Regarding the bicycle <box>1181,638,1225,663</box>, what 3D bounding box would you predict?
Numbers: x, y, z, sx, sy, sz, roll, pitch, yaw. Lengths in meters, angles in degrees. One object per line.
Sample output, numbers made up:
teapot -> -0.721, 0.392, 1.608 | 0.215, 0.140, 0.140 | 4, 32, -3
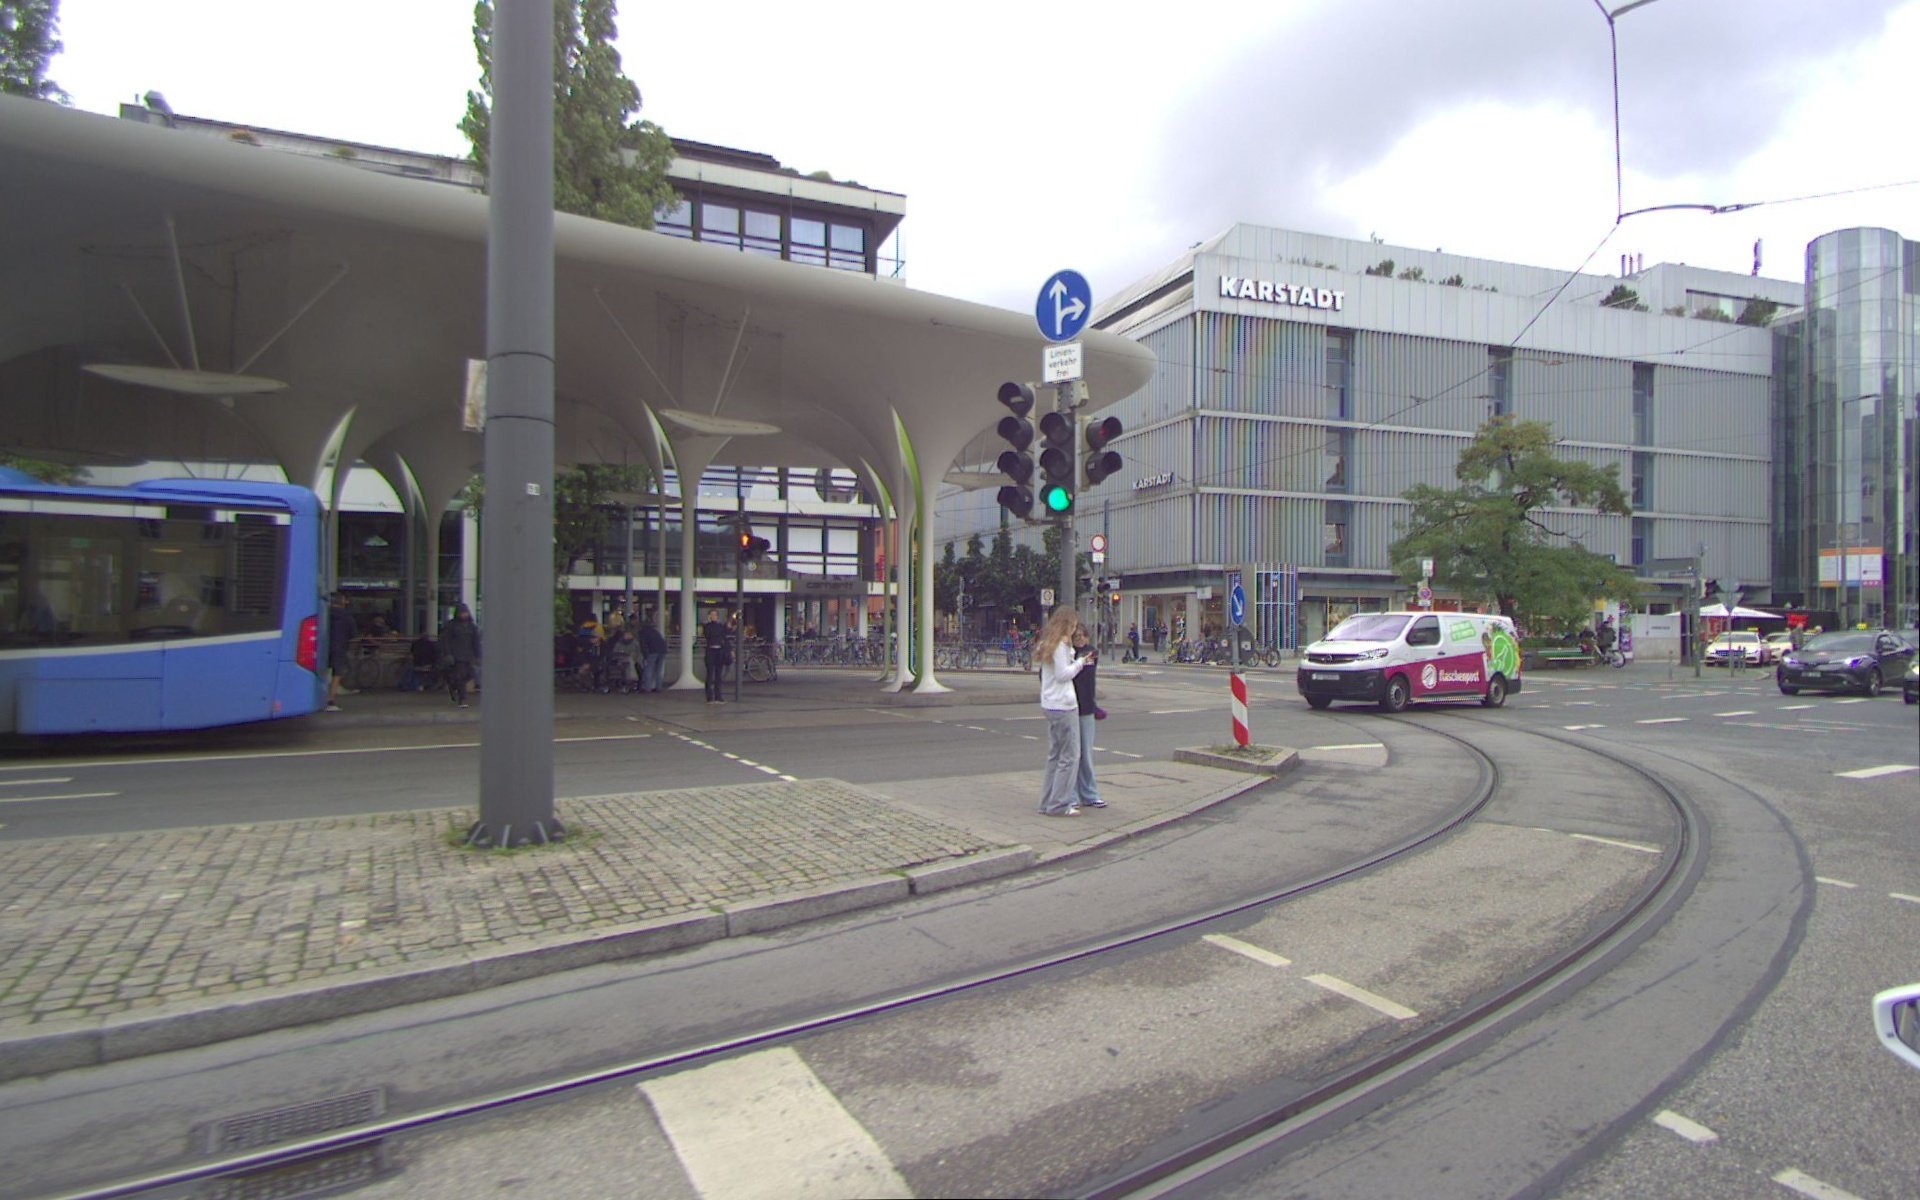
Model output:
bicycle -> 10.275, 2.144, 42.497 | 1.963, 1.011, 0.524 | 3, -2, -30

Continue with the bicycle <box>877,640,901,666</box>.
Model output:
bicycle -> -2.680, 2.014, 38.054 | 0.446, 0.952, 1.732 | 1, -2, 12

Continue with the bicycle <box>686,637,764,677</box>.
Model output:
bicycle -> -6.786, 1.640, 29.034 | 2.149, 1.133, 0.652 | 1, -1, -20

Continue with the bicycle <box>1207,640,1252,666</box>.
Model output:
bicycle -> 11.001, 2.179, 41.016 | 1.963, 1.011, 0.524 | 3, -2, -30

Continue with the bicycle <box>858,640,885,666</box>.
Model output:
bicycle -> -3.355, 1.994, 38.208 | 0.446, 0.952, 1.732 | 1, -2, 14

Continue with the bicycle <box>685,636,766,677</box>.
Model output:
bicycle -> -6.614, 1.578, 28.317 | 2.149, 1.133, 0.652 | 1, -1, -20

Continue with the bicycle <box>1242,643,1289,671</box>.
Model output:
bicycle -> 11.859, 2.222, 38.991 | 1.963, 1.011, 0.524 | 3, -2, -30

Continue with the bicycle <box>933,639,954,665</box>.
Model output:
bicycle -> -0.739, 2.306, 44.579 | 0.421, 1.088, 1.635 | 0, -1, 18

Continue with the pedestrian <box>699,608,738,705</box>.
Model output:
pedestrian -> -4.428, 1.032, 18.436 | 0.606, 1.743, 0.546 | 1, -1, -22

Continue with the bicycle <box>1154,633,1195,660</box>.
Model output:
bicycle -> 9.433, 2.060, 44.146 | 1.871, 1.126, 0.582 | 3, -2, -30

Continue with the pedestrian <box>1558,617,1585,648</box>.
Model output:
pedestrian -> 25.444, 1.352, 41.807 | 1.032, 1.292, 0.542 | 1, -1, -29

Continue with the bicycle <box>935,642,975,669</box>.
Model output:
bicycle -> -0.171, 2.002, 36.566 | 0.448, 0.952, 1.724 | 0, -3, 38

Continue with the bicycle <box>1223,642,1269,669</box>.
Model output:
bicycle -> 11.419, 2.199, 40.075 | 1.963, 1.011, 0.524 | 3, -2, -30

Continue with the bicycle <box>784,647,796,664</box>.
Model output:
bicycle -> -7.239, 2.349, 42.705 | 0.357, 0.641, 1.630 | 0, -1, -15

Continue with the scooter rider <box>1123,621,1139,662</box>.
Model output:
scooter rider -> 7.732, 1.864, 45.480 | 0.598, 1.863, 0.555 | 0, -1, -2

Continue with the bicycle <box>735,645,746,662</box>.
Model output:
bicycle -> -9.187, 2.225, 42.031 | 0.357, 0.641, 1.630 | 0, -1, -15

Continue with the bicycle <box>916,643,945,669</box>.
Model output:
bicycle -> -1.093, 2.066, 37.264 | 0.446, 0.952, 1.731 | 0, -2, 20

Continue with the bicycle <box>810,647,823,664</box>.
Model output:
bicycle -> -6.154, 2.375, 43.078 | 0.357, 0.641, 1.630 | 0, -1, -15

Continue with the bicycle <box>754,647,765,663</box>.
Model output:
bicycle -> -8.442, 2.320, 42.284 | 0.357, 0.641, 1.630 | 0, -1, -15

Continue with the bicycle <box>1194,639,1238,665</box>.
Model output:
bicycle -> 10.648, 2.162, 41.713 | 1.963, 1.011, 0.524 | 3, -2, -30

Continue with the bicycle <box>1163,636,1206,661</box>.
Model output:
bicycle -> 9.733, 2.119, 43.595 | 1.963, 1.011, 0.524 | 3, -2, -30

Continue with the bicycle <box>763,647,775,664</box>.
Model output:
bicycle -> -8.057, 2.329, 42.371 | 0.357, 0.641, 1.630 | 0, -1, -15

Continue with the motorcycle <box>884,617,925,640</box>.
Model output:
motorcycle -> -5.359, 2.716, 96.942 | 3.860, 2.189, 1.173 | 1, -1, -7

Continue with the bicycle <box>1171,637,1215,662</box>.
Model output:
bicycle -> 9.976, 2.131, 43.012 | 1.963, 1.011, 0.524 | 3, -2, -30

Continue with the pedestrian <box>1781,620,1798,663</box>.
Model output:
pedestrian -> 35.249, 1.755, 42.666 | 0.348, 1.783, 0.447 | 0, -1, 6

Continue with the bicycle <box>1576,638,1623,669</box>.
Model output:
bicycle -> 24.764, 2.049, 38.917 | 0.368, 1.126, 1.569 | 1, -1, -25

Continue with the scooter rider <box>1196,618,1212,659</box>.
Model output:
scooter rider -> 11.041, 1.727, 45.456 | 0.654, 1.859, 0.620 | 0, -1, 19

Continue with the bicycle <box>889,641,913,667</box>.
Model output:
bicycle -> -2.201, 2.030, 37.812 | 0.446, 0.952, 1.732 | 1, -2, 12

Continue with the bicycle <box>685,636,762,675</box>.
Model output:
bicycle -> -6.986, 1.628, 29.676 | 2.149, 1.133, 0.652 | 1, -1, -20

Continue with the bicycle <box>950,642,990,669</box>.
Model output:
bicycle -> 0.382, 2.017, 36.532 | 0.448, 0.952, 1.723 | -1, -3, 40

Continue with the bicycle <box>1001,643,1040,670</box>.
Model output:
bicycle -> 2.145, 1.990, 35.443 | 0.448, 0.952, 1.723 | 0, -3, 39

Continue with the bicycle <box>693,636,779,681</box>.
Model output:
bicycle -> -5.879, 1.519, 26.378 | 2.133, 1.139, 0.640 | 1, -1, -21

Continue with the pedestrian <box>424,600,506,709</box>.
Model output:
pedestrian -> -8.062, 0.862, 16.368 | 0.957, 1.703, 0.838 | 0, -1, 35

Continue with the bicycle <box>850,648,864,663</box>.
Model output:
bicycle -> -4.500, 2.413, 43.746 | 0.357, 0.641, 1.630 | 0, -1, -15

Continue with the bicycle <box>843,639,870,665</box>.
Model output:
bicycle -> -3.897, 1.981, 38.067 | 0.446, 0.952, 1.732 | 1, -2, 14

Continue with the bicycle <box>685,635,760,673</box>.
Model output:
bicycle -> -7.169, 1.617, 30.313 | 2.149, 1.133, 0.652 | 1, -1, -20

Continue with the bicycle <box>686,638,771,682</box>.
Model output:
bicycle -> -6.214, 1.602, 26.980 | 2.149, 1.133, 0.652 | 1, -1, -20

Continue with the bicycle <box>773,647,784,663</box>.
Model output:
bicycle -> -7.698, 2.337, 42.564 | 0.357, 0.641, 1.630 | 0, -1, -15

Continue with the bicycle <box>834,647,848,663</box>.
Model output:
bicycle -> -5.170, 2.397, 43.547 | 0.357, 0.641, 1.630 | 0, -1, -15

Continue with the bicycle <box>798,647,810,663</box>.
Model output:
bicycle -> -6.671, 2.362, 42.928 | 0.357, 0.641, 1.630 | 0, -1, -15

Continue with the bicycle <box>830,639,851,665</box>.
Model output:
bicycle -> -4.560, 1.960, 38.303 | 0.446, 0.952, 1.732 | 1, -2, 4

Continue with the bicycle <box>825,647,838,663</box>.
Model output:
bicycle -> -5.562, 2.388, 43.357 | 0.357, 0.641, 1.630 | 0, -1, -15

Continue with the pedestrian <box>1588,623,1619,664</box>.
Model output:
pedestrian -> 26.408, 1.785, 41.203 | 0.740, 1.676, 0.770 | 0, -1, -19

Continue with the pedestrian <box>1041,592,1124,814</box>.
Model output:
pedestrian -> 0.951, 0.768, 7.772 | 0.478, 1.640, 0.557 | 0, -1, 26

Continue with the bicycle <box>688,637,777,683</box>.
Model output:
bicycle -> -5.798, 1.519, 25.638 | 2.133, 1.139, 0.640 | 1, -1, -21
